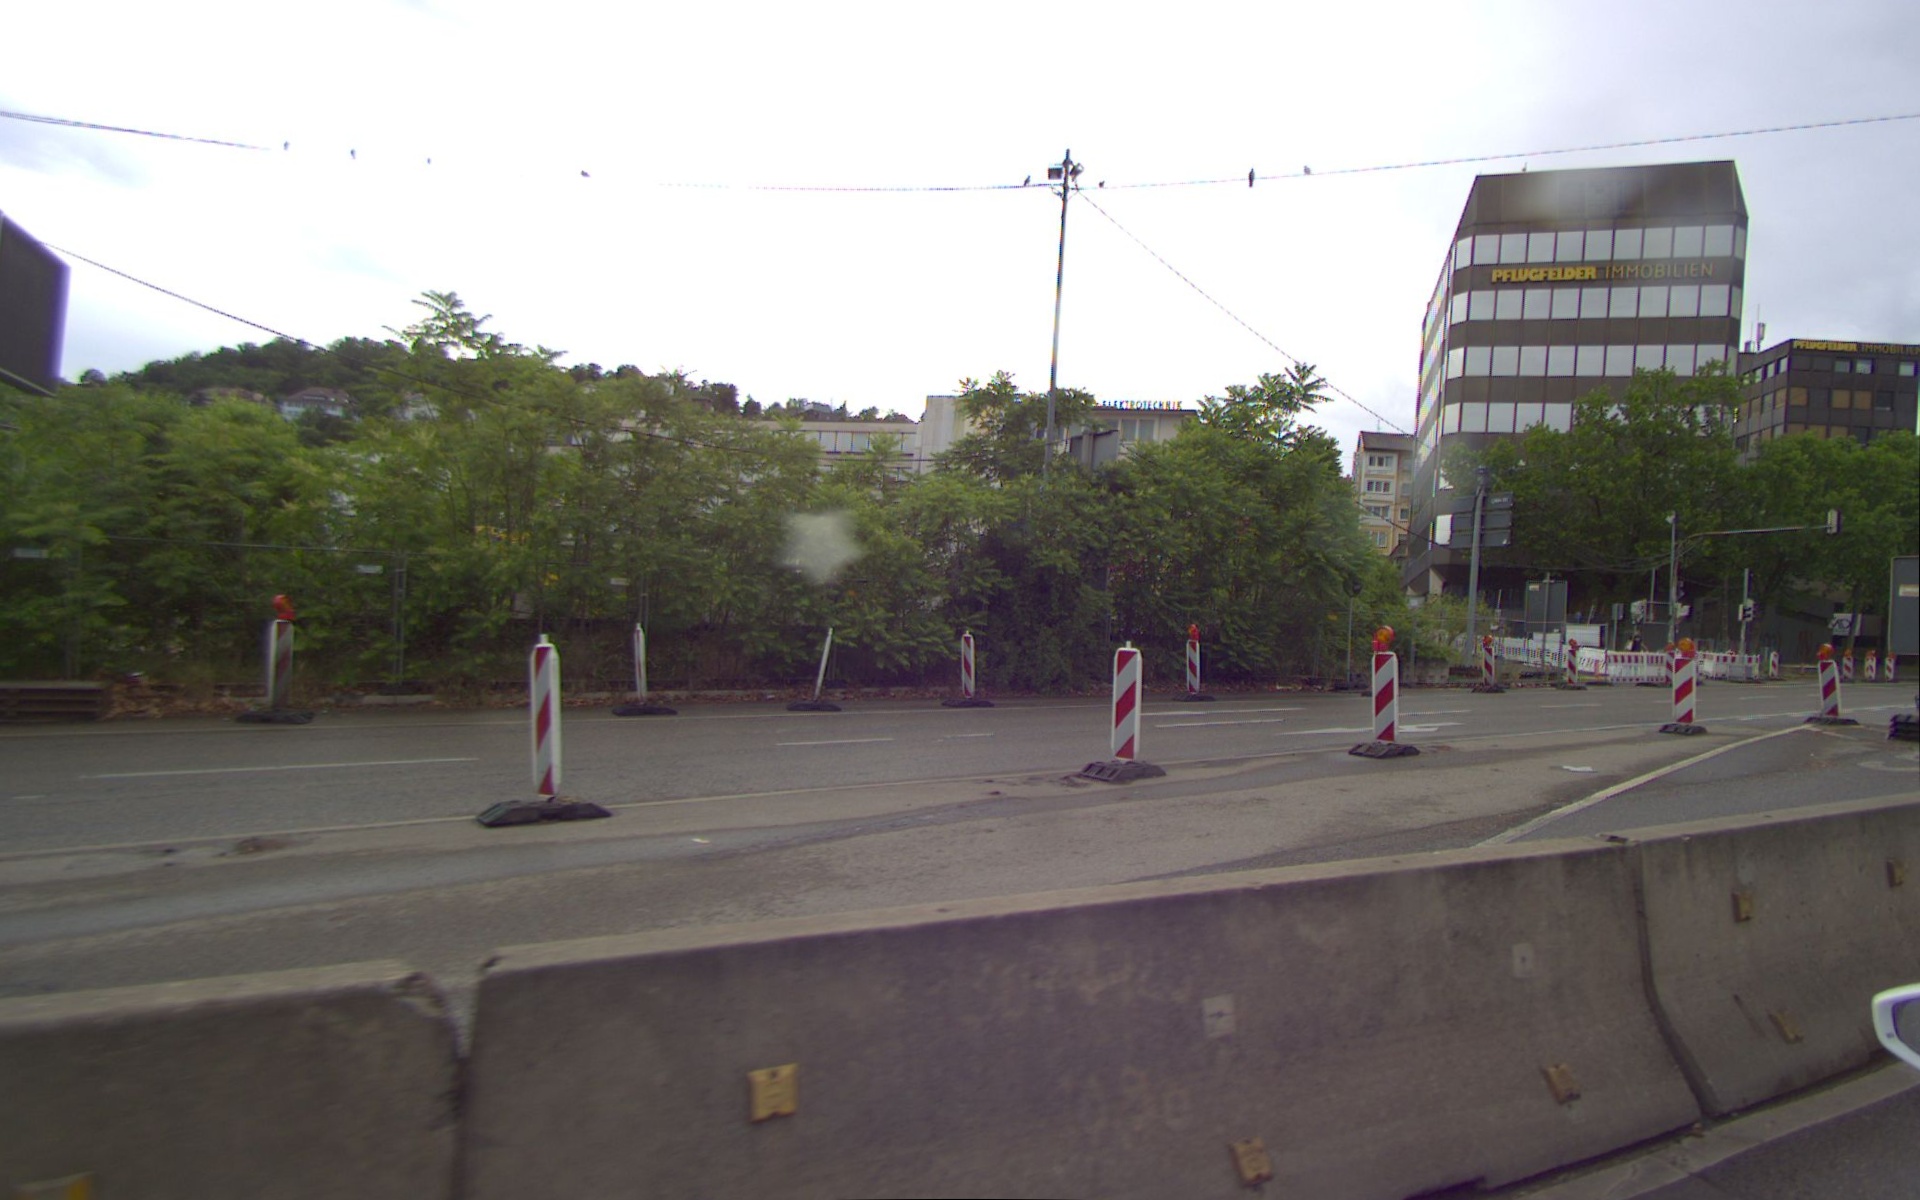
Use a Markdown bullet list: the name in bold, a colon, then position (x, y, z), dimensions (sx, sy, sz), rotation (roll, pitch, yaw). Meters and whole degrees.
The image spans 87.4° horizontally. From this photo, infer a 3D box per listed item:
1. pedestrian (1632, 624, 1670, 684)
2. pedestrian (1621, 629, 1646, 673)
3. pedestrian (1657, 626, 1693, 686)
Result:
- **pedestrian**: position (23.543, 1.841, 34.236), dimensions (0.734, 1.947, 0.757), rotation (5, -2, -31)
- **pedestrian**: position (30.491, 2.303, 45.494), dimensions (0.742, 1.904, 0.733), rotation (5, -2, -44)
- **pedestrian**: position (23.890, 1.865, 33.571), dimensions (0.767, 1.926, 0.668), rotation (5, -2, -31)
